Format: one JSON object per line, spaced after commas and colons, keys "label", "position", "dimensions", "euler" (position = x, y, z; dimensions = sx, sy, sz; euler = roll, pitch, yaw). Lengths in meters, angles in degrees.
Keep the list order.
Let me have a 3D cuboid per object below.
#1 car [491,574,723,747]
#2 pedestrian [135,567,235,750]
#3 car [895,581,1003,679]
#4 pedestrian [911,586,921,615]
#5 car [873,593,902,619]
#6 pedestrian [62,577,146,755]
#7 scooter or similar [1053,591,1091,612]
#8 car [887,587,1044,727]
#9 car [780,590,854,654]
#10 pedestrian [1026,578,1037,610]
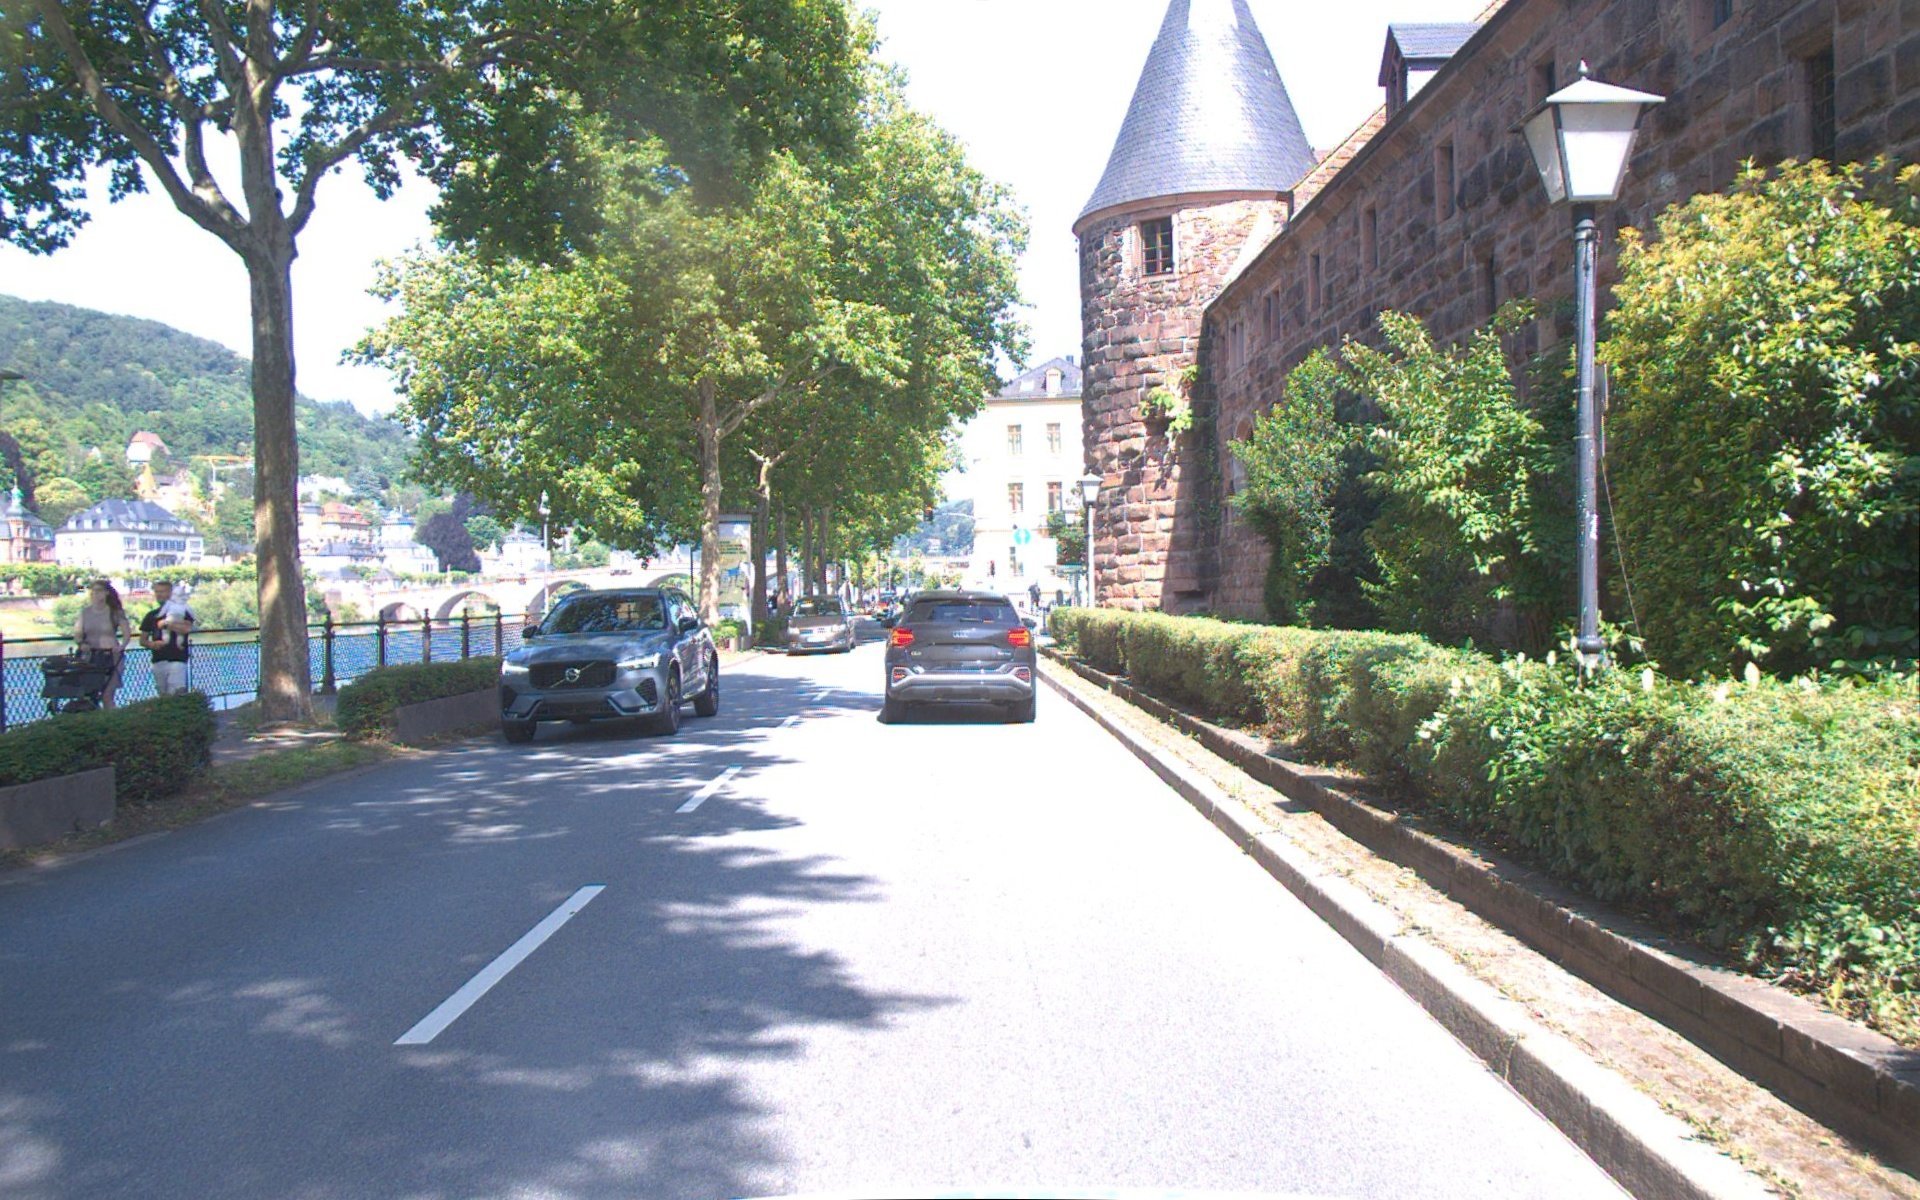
{"label": "car", "position": [-3.987, 0.621, 19.401], "dimensions": [1.839, 1.728, 4.257], "euler": [-2, 0, -2]}
{"label": "pedestrian", "position": [-8.326, 0.615, 17.795], "dimensions": [0.628, 1.903, 0.806], "euler": [-2, 0, 0]}
{"label": "car", "position": [-0.193, 0.500, 29.863], "dimensions": [1.764, 1.590, 3.715], "euler": [-2, 0, 0]}
{"label": "pedestrian", "position": [-2.606, 0.014, 97.454], "dimensions": [0.507, 1.666, 0.438], "euler": [-2, 0, -8]}
{"label": "car", "position": [-4.547, 0.348, 104.162], "dimensions": [1.581, 1.549, 3.477], "euler": [-2, 0, 1]}
{"label": "pedestrian", "position": [-8.910, 0.674, 17.237], "dimensions": [0.506, 1.799, 0.592], "euler": [-2, 0, 0]}
{"label": "scooter or similar", "position": [5.472, 0.059, 80.851], "dimensions": [1.808, 0.980, 0.429], "euler": [1, 0, -1]}
{"label": "car", "position": [0.008, 0.621, 20.055], "dimensions": [1.713, 1.521, 3.628], "euler": [-1, 0, -2]}
{"label": "car", "position": [-4.052, 0.587, 47.266], "dimensions": [1.727, 1.676, 4.089], "euler": [-2, 0, -1]}
{"label": "pedestrian", "position": [3.783, -0.325, 87.531], "dimensions": [0.545, 1.661, 0.660], "euler": [0, 0, 0]}
